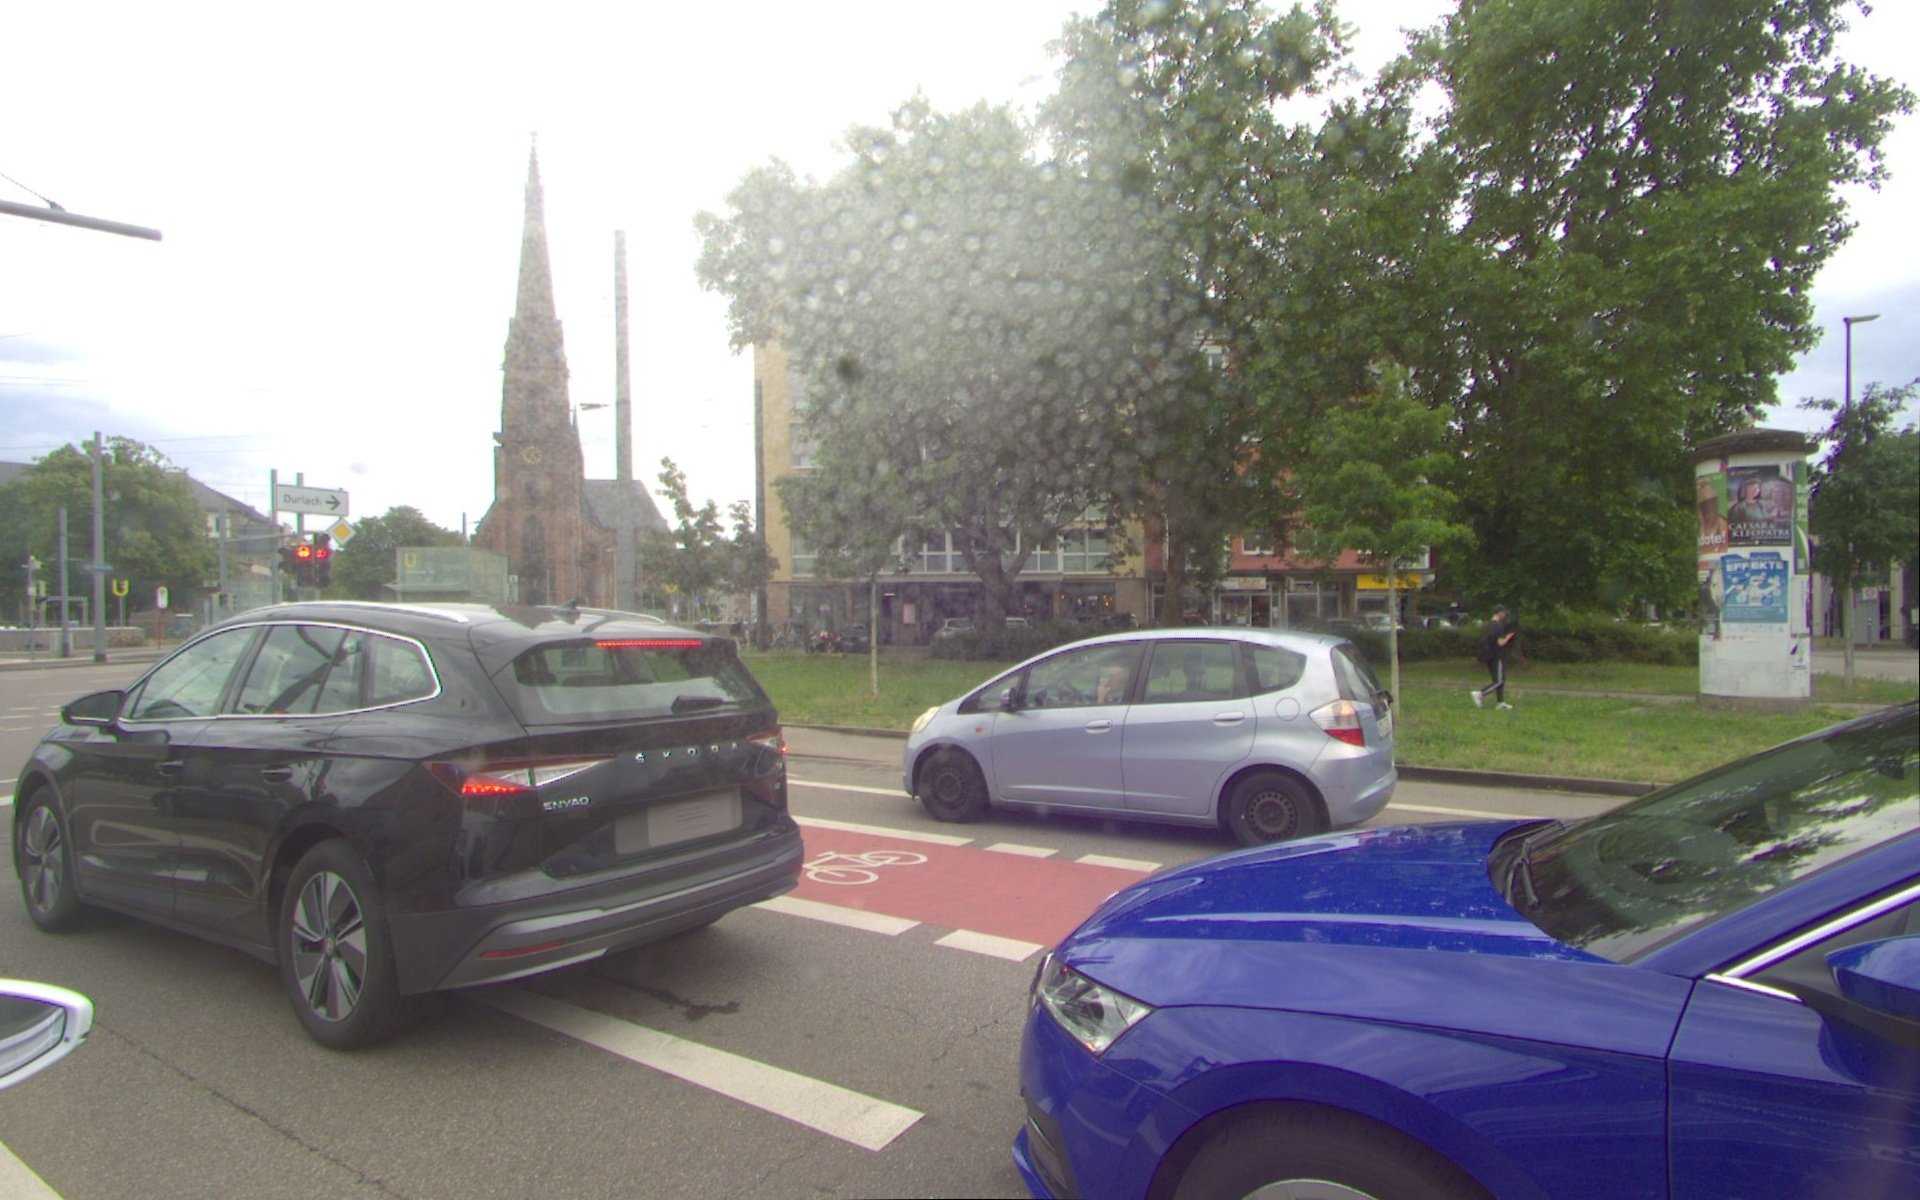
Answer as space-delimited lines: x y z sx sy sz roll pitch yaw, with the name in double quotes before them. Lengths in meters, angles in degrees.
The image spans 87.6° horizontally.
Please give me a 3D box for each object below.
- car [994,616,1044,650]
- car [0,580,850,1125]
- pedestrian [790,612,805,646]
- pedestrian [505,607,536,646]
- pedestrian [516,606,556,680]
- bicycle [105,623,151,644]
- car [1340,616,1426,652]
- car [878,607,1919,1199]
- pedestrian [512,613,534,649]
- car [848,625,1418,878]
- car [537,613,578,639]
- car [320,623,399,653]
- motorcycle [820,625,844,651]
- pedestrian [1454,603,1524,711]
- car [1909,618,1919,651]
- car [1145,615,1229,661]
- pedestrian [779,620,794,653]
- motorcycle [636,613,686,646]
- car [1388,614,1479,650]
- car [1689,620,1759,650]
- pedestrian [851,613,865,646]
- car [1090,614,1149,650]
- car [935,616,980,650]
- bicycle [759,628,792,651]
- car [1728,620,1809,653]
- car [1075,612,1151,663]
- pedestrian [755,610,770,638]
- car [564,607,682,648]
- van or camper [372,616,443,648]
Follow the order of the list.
"car" 2.667 1.503 46.198 1.825 1.509 4.476 0 -1 -3
"car" -2.843 0.793 4.900 4.444 1.617 1.774 -1 -1 31
"pedestrian" -7.961 1.411 49.027 0.625 1.659 0.872 0 0 0
"pedestrian" -21.063 1.255 48.029 1.066 1.820 0.947 -1 -1 -2
"pedestrian" -11.434 1.158 27.043 0.874 1.956 1.016 0 0 -16
"bicycle" -55.436 2.225 66.738 0.699 1.348 2.252 -2 -1 39
"car" 19.507 1.535 46.446 1.825 1.568 4.476 0 -1 -5
"car" 2.156 0.761 1.690 4.402 1.508 1.776 -1 -1 32
"pedestrian" -20.227 1.421 46.349 0.625 1.659 0.872 0 0 -1
"car" 1.256 0.951 7.800 4.039 1.486 1.746 -1 -1 32
"car" -32.561 2.050 81.043 1.961 2.040 4.000 0 -1 -5
"car" -32.206 2.020 53.857 1.740 1.483 4.001 -2 -1 1
"motorcycle" -5.048 1.498 39.402 0.858 1.010 1.014 0 -1 -12
"pedestrian" 9.298 0.984 17.623 0.968 1.868 0.536 0 0 -11
"car" 46.503 1.599 46.344 1.865 1.568 4.469 -2 -1 17
"car" 8.233 1.339 36.673 1.825 1.568 4.476 0 -1 -3
"pedestrian" -8.754 1.852 50.668 0.625 1.659 0.872 0 0 -1
"motorcycle" -11.117 1.087 37.332 0.753 1.183 2.385 0 -1 12
"car" 21.974 1.472 46.681 1.825 1.568 4.476 0 -1 -5
"car" 45.362 2.028 59.558 1.828 1.644 4.469 -2 -1 17
"pedestrian" -5.072 1.464 49.974 0.625 1.659 0.872 0 0 0
"car" 7.379 1.459 46.694 1.825 1.568 4.476 0 -1 -3
"car" -0.151 1.493 46.150 1.825 1.509 4.476 0 -1 -3
"bicycle" -7.451 1.594 40.455 1.240 0.929 0.595 0 0 2
"car" 43.526 1.951 54.020 1.828 1.644 4.469 -2 -1 17
"car" 5.498 1.323 36.474 1.825 1.745 4.476 0 -1 -3
"pedestrian" -11.817 1.427 59.890 0.771 1.659 0.637 0 0 -4
"car" -18.100 1.477 53.941 5.674 2.039 2.011 -1 -1 -40
"van or camper" -33.024 1.887 60.000 1.961 1.764 4.305 -2 -1 -3
